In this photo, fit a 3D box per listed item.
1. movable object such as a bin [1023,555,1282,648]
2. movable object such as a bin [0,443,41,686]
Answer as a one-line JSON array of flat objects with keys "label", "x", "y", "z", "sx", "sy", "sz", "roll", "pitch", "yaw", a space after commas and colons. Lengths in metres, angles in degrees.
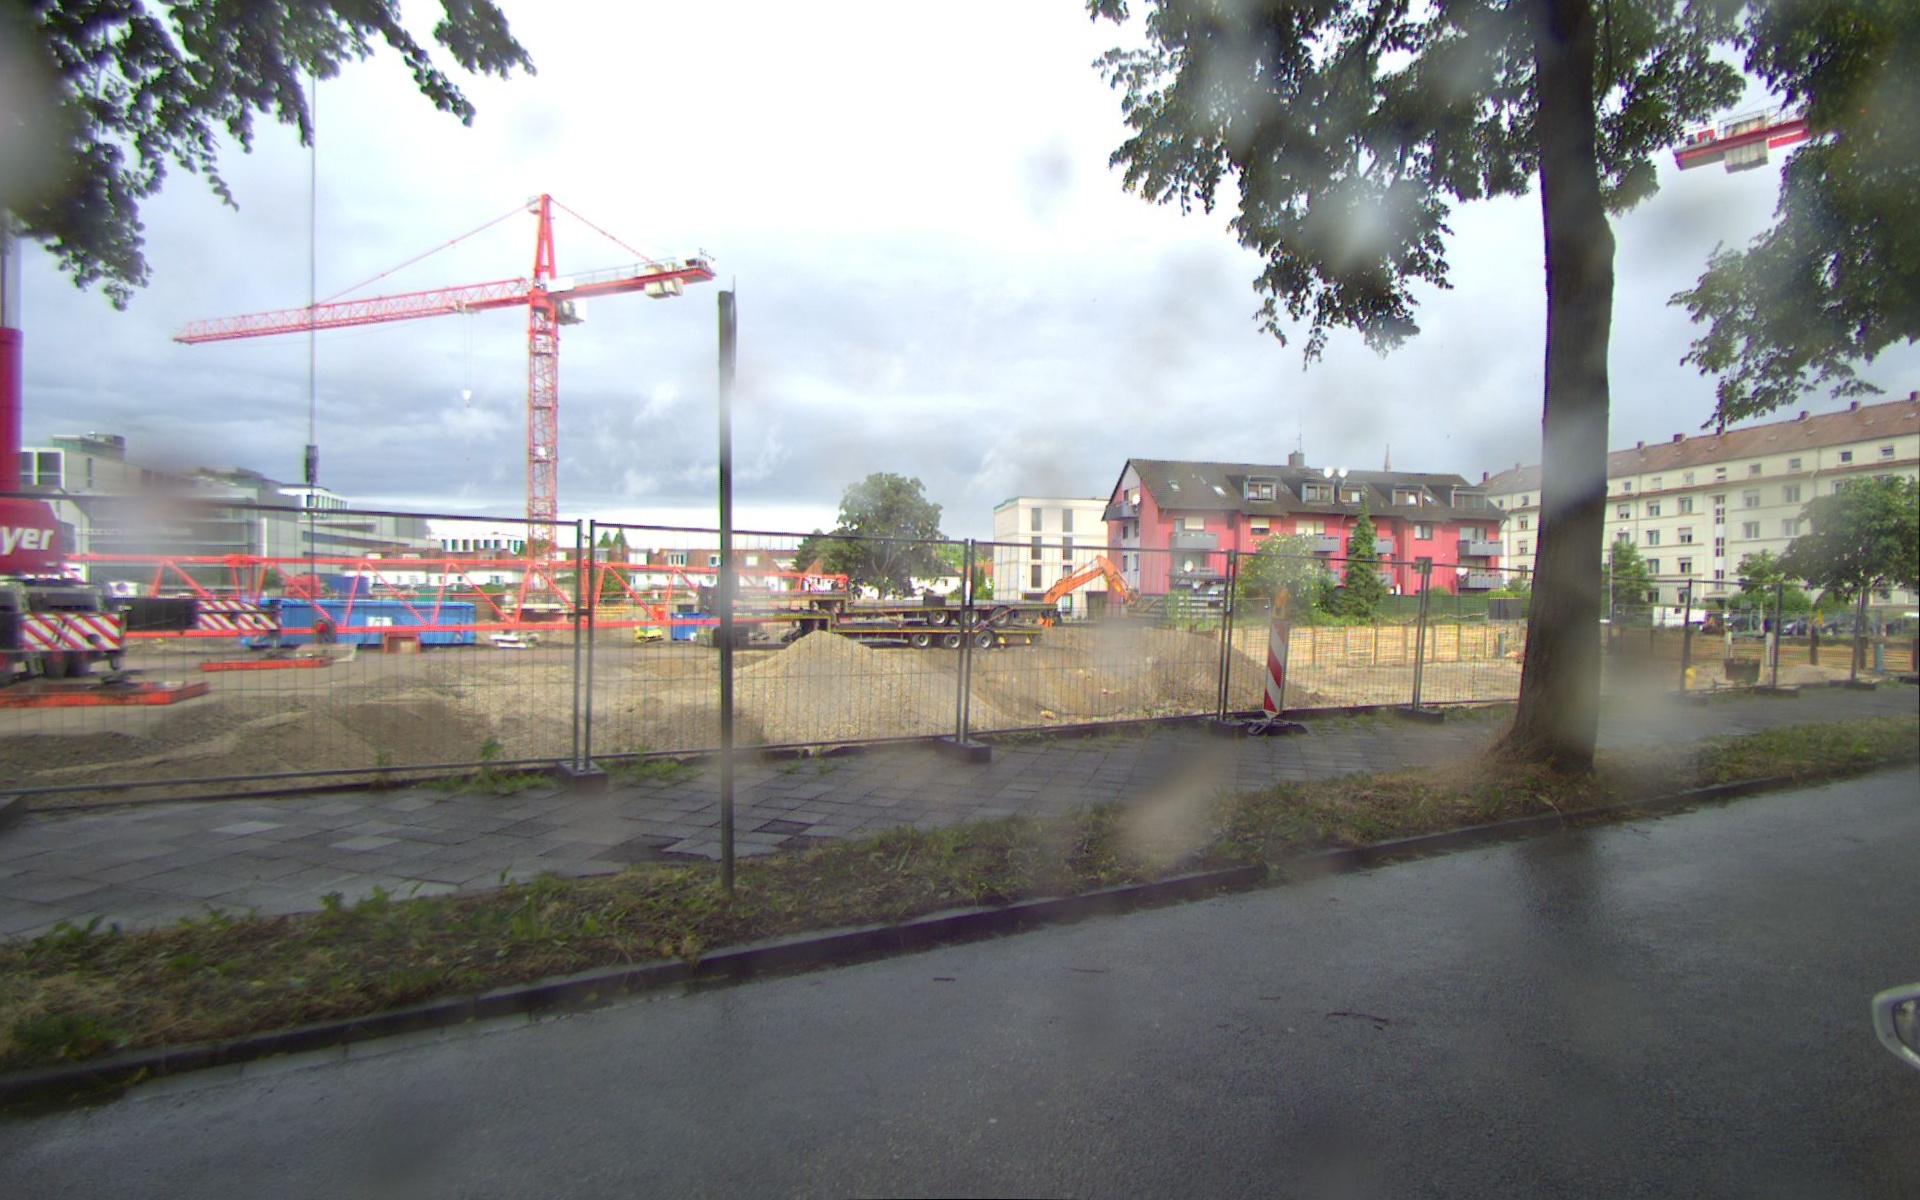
[{"label": "movable object such as a bin", "x": 13.058, "y": 0.064, "z": 69.782, "sx": 16.429, "sy": 6.125, "sz": 6.884, "roll": 0, "pitch": 1, "yaw": -6}, {"label": "movable object such as a bin", "x": -16.502, "y": -0.583, "z": 13.703, "sx": 3.323, "sy": 4.170, "sz": 9.774, "roll": 0, "pitch": 1, "yaw": -27}]
